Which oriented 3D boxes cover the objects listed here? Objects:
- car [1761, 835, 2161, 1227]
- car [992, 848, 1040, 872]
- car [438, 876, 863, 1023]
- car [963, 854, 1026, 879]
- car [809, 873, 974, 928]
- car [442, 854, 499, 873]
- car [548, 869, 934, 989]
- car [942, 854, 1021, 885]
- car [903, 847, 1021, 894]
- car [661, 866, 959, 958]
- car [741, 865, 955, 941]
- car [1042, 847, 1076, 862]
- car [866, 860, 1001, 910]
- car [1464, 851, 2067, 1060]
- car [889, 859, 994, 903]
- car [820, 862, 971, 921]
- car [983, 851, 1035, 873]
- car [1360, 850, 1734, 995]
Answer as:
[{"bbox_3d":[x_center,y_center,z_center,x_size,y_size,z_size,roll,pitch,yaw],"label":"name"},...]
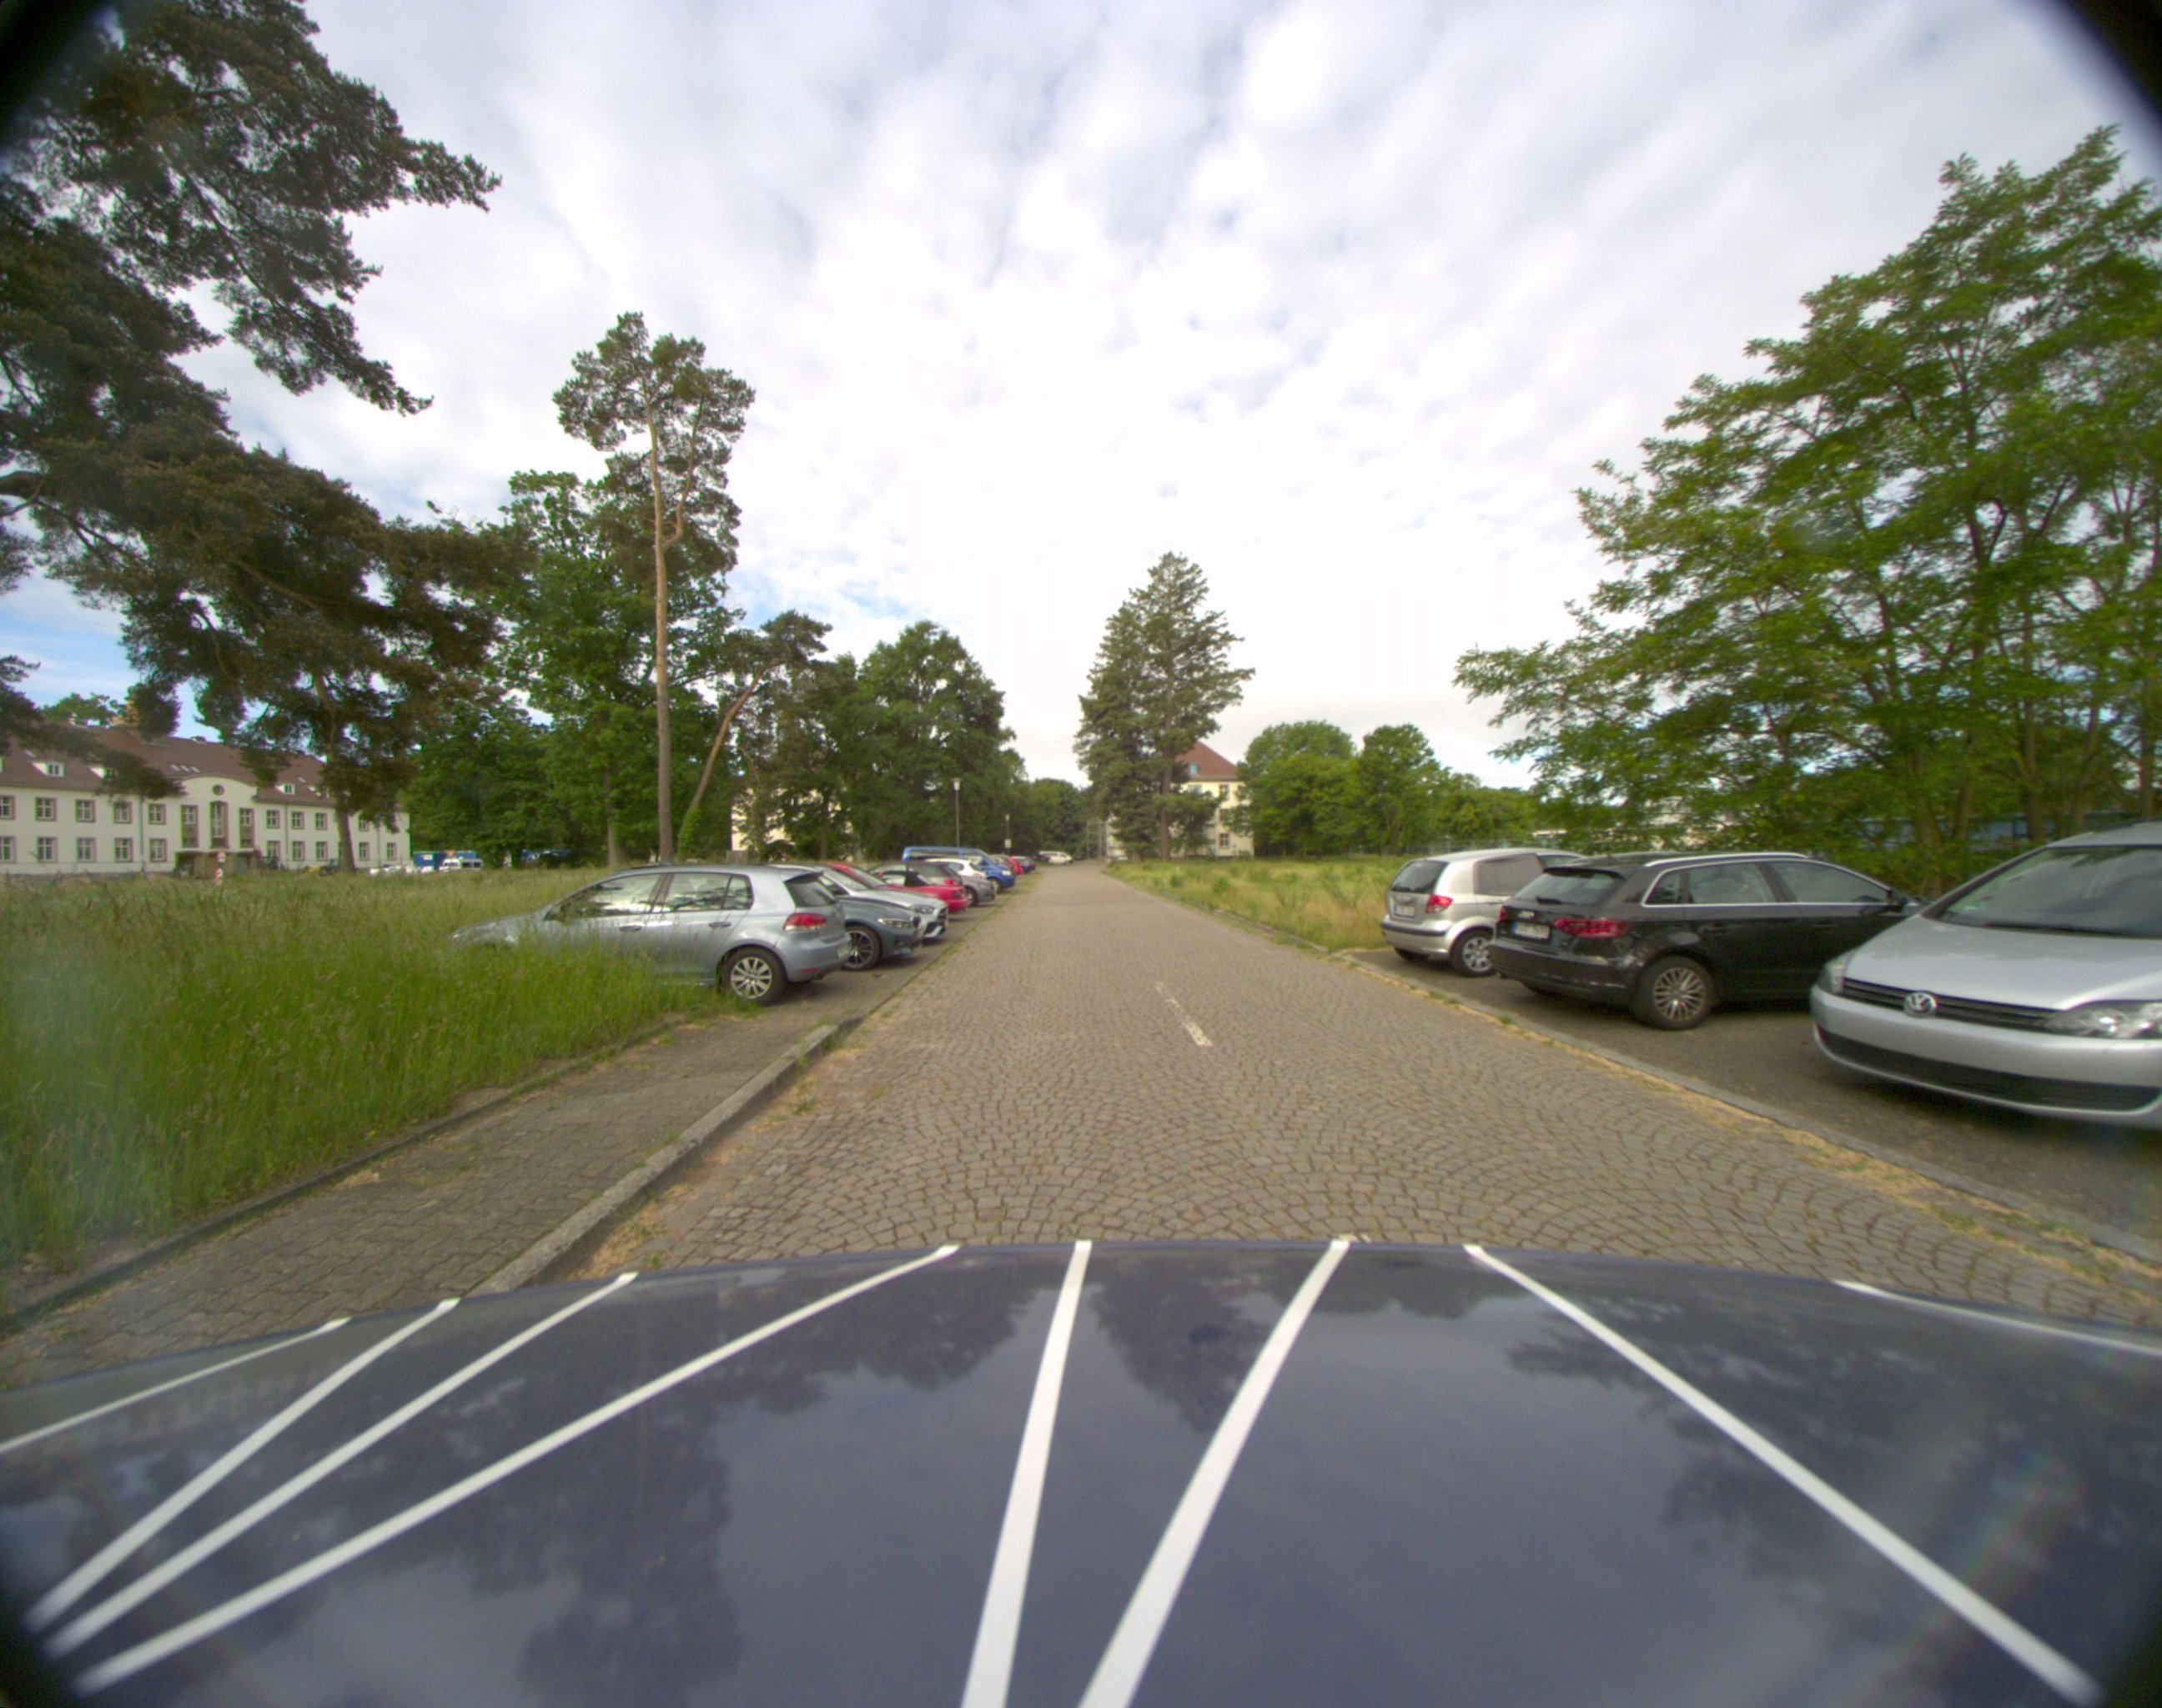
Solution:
[{"bbox_3d":[6.460,0.702,4.215,3.999,1.538,1.723,-3,1,-6],"label":"car"},{"bbox_3d":[-5.631,0.506,66.175,3.997,2.002,2.000,-1,1,0],"label":"car"},{"bbox_3d":[-4.538,0.985,8.428,3.773,1.418,1.605,0,0,-2],"label":"car"},{"bbox_3d":[-5.800,0.827,51.526,3.997,1.521,2.000,-2,1,-1],"label":"car"},{"bbox_3d":[-4.512,1.098,18.442,3.600,1.200,1.494,-1,0,0],"label":"car"},{"bbox_3d":[-70.058,1.053,87.293,2.153,2.002,5.224,-1,1,2],"label":"car"},{"bbox_3d":[-4.669,1.008,11.049,4.771,1.474,1.761,-1,1,-4],"label":"car"},{"bbox_3d":[-5.358,0.805,41.203,3.997,1.601,2.000,-1,1,-1],"label":"car"},{"bbox_3d":[-4.978,0.667,32.268,4.750,1.928,1.999,0,1,-2],"label":"car"},{"bbox_3d":[-4.759,1.003,13.864,4.769,1.474,1.812,-1,1,-1],"label":"car"},{"bbox_3d":[-4.819,0.989,16.162,3.972,1.444,1.799,-1,1,-1],"label":"car"},{"bbox_3d":[-3.386,0.064,115.100,5.031,2.164,2.000,-1,1,1],"label":"car"},{"bbox_3d":[-4.584,0.950,24.031,3.849,1.448,1.820,-1,1,1],"label":"car"},{"bbox_3d":[5.969,0.802,6.969,3.998,1.419,1.750,-3,1,-2],"label":"car"},{"bbox_3d":[-4.873,0.936,26.848,3.409,1.444,1.637,-1,1,0],"label":"car"},{"bbox_3d":[-5.054,0.999,21.132,3.787,1.497,1.798,-1,1,-3],"label":"car"},{"bbox_3d":[-5.782,0.632,61.775,4.008,1.752,2.000,-1,1,0],"label":"car"},{"bbox_3d":[5.787,0.777,9.715,3.689,1.444,1.807,-3,1,-6],"label":"car"}]
